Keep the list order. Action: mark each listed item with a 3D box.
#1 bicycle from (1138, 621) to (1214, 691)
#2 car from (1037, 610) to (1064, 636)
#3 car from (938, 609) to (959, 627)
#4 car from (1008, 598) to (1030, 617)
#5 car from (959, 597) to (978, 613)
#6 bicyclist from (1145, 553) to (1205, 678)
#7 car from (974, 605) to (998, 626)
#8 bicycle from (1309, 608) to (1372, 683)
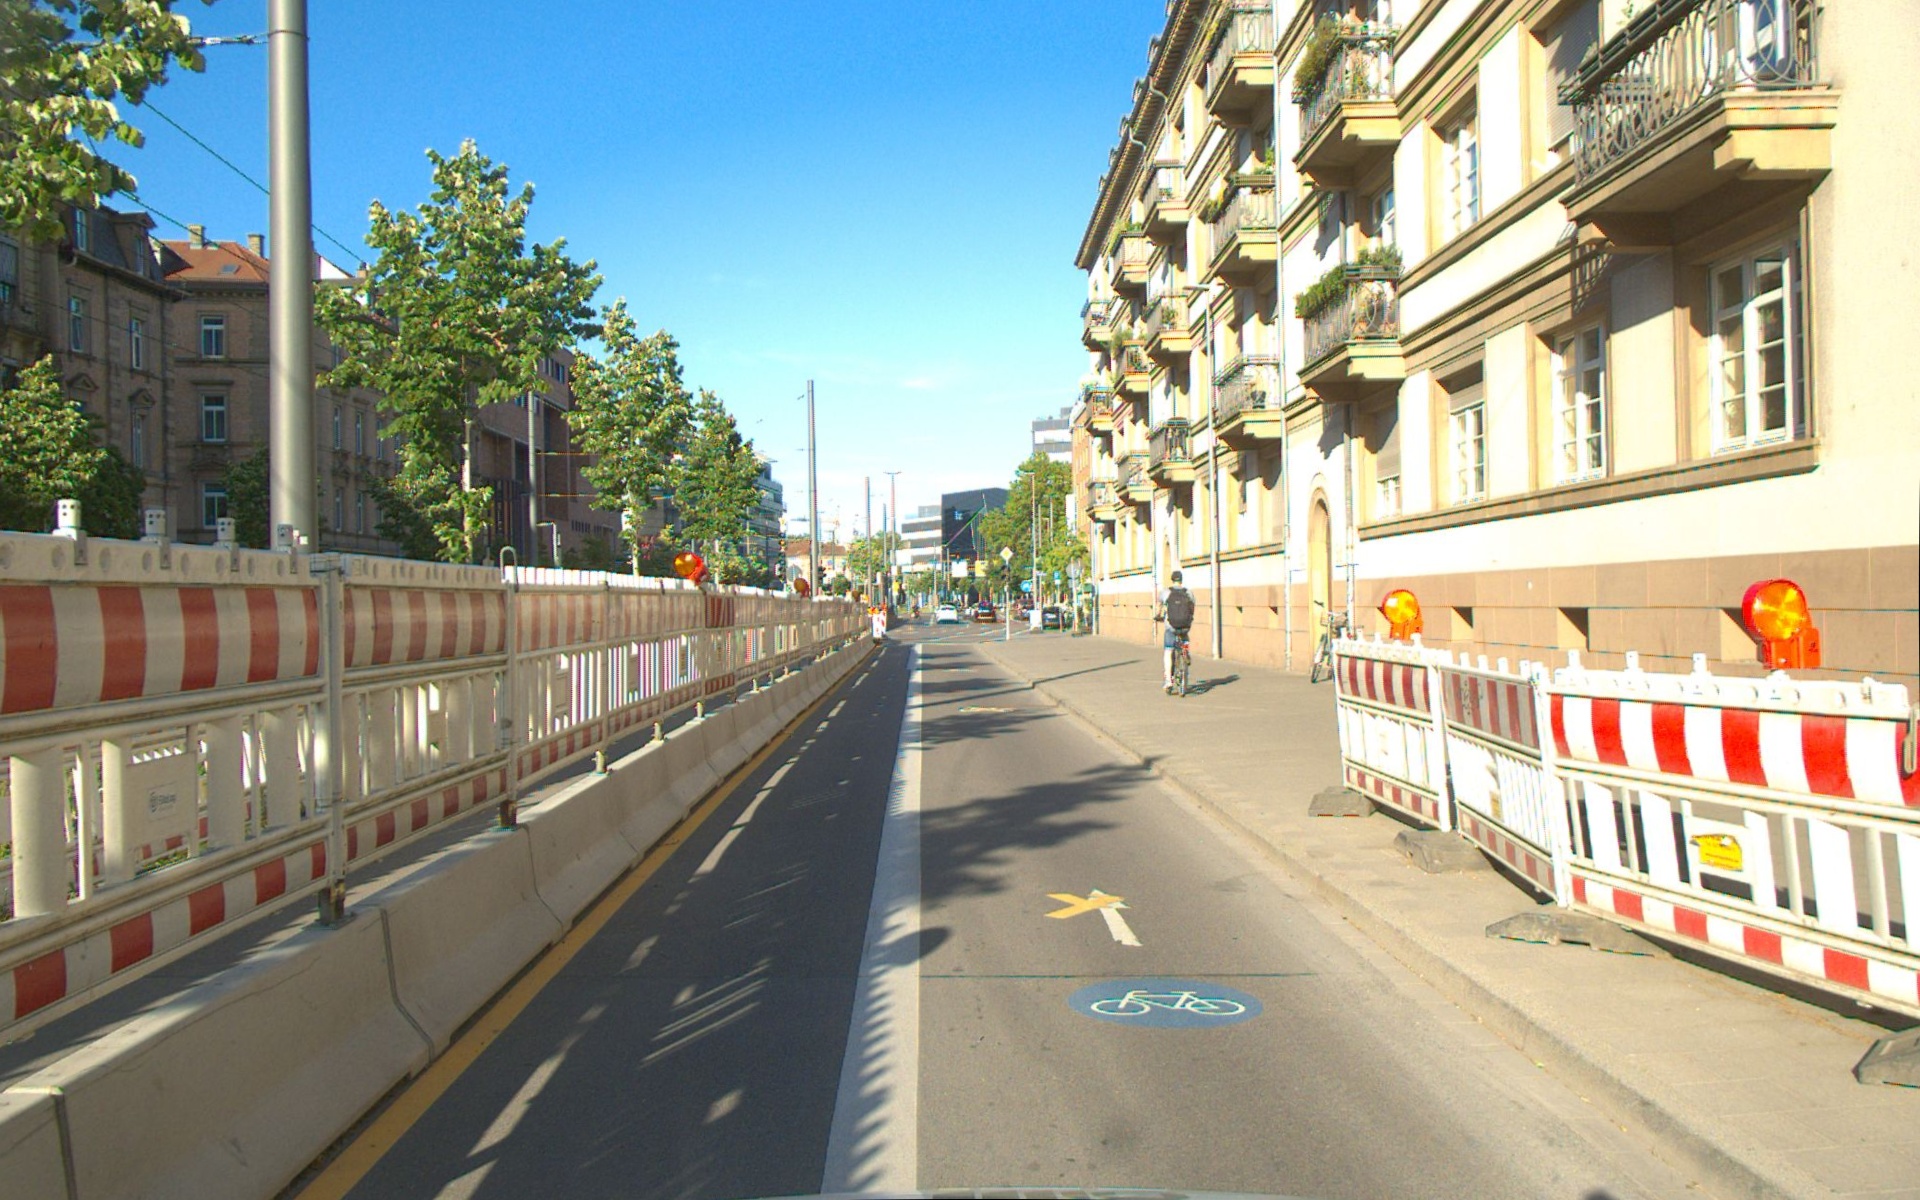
[{"bbox_3d":[3.171,0.804,24.488,0.752,0.969,2.197,-1,0,-2],"label":"bicycle"},{"bbox_3d":[6.327,1.584,115.059,1.684,1.665,4.233,-2,-1,5],"label":"car"},{"bbox_3d":[-0.980,1.487,138.369,1.744,1.439,4.817,1,0,-1],"label":"car"},{"bbox_3d":[5.580,0.695,156.360,1.809,1.587,4.633,1,3,-1],"label":"car"},{"bbox_3d":[0.842,0.456,168.780,1.813,1.524,4.378,-2,0,-1],"label":"car"},{"bbox_3d":[3.161,0.232,24.372,0.718,1.794,0.937,-1,-1,-2],"label":"bicyclist"},{"bbox_3d":[2.280,1.324,144.094,1.935,1.790,4.632,1,0,-1],"label":"car"},{"bbox_3d":[5.892,0.684,25.686,0.409,1.114,2.197,-1,0,-1],"label":"bicycle"}]
